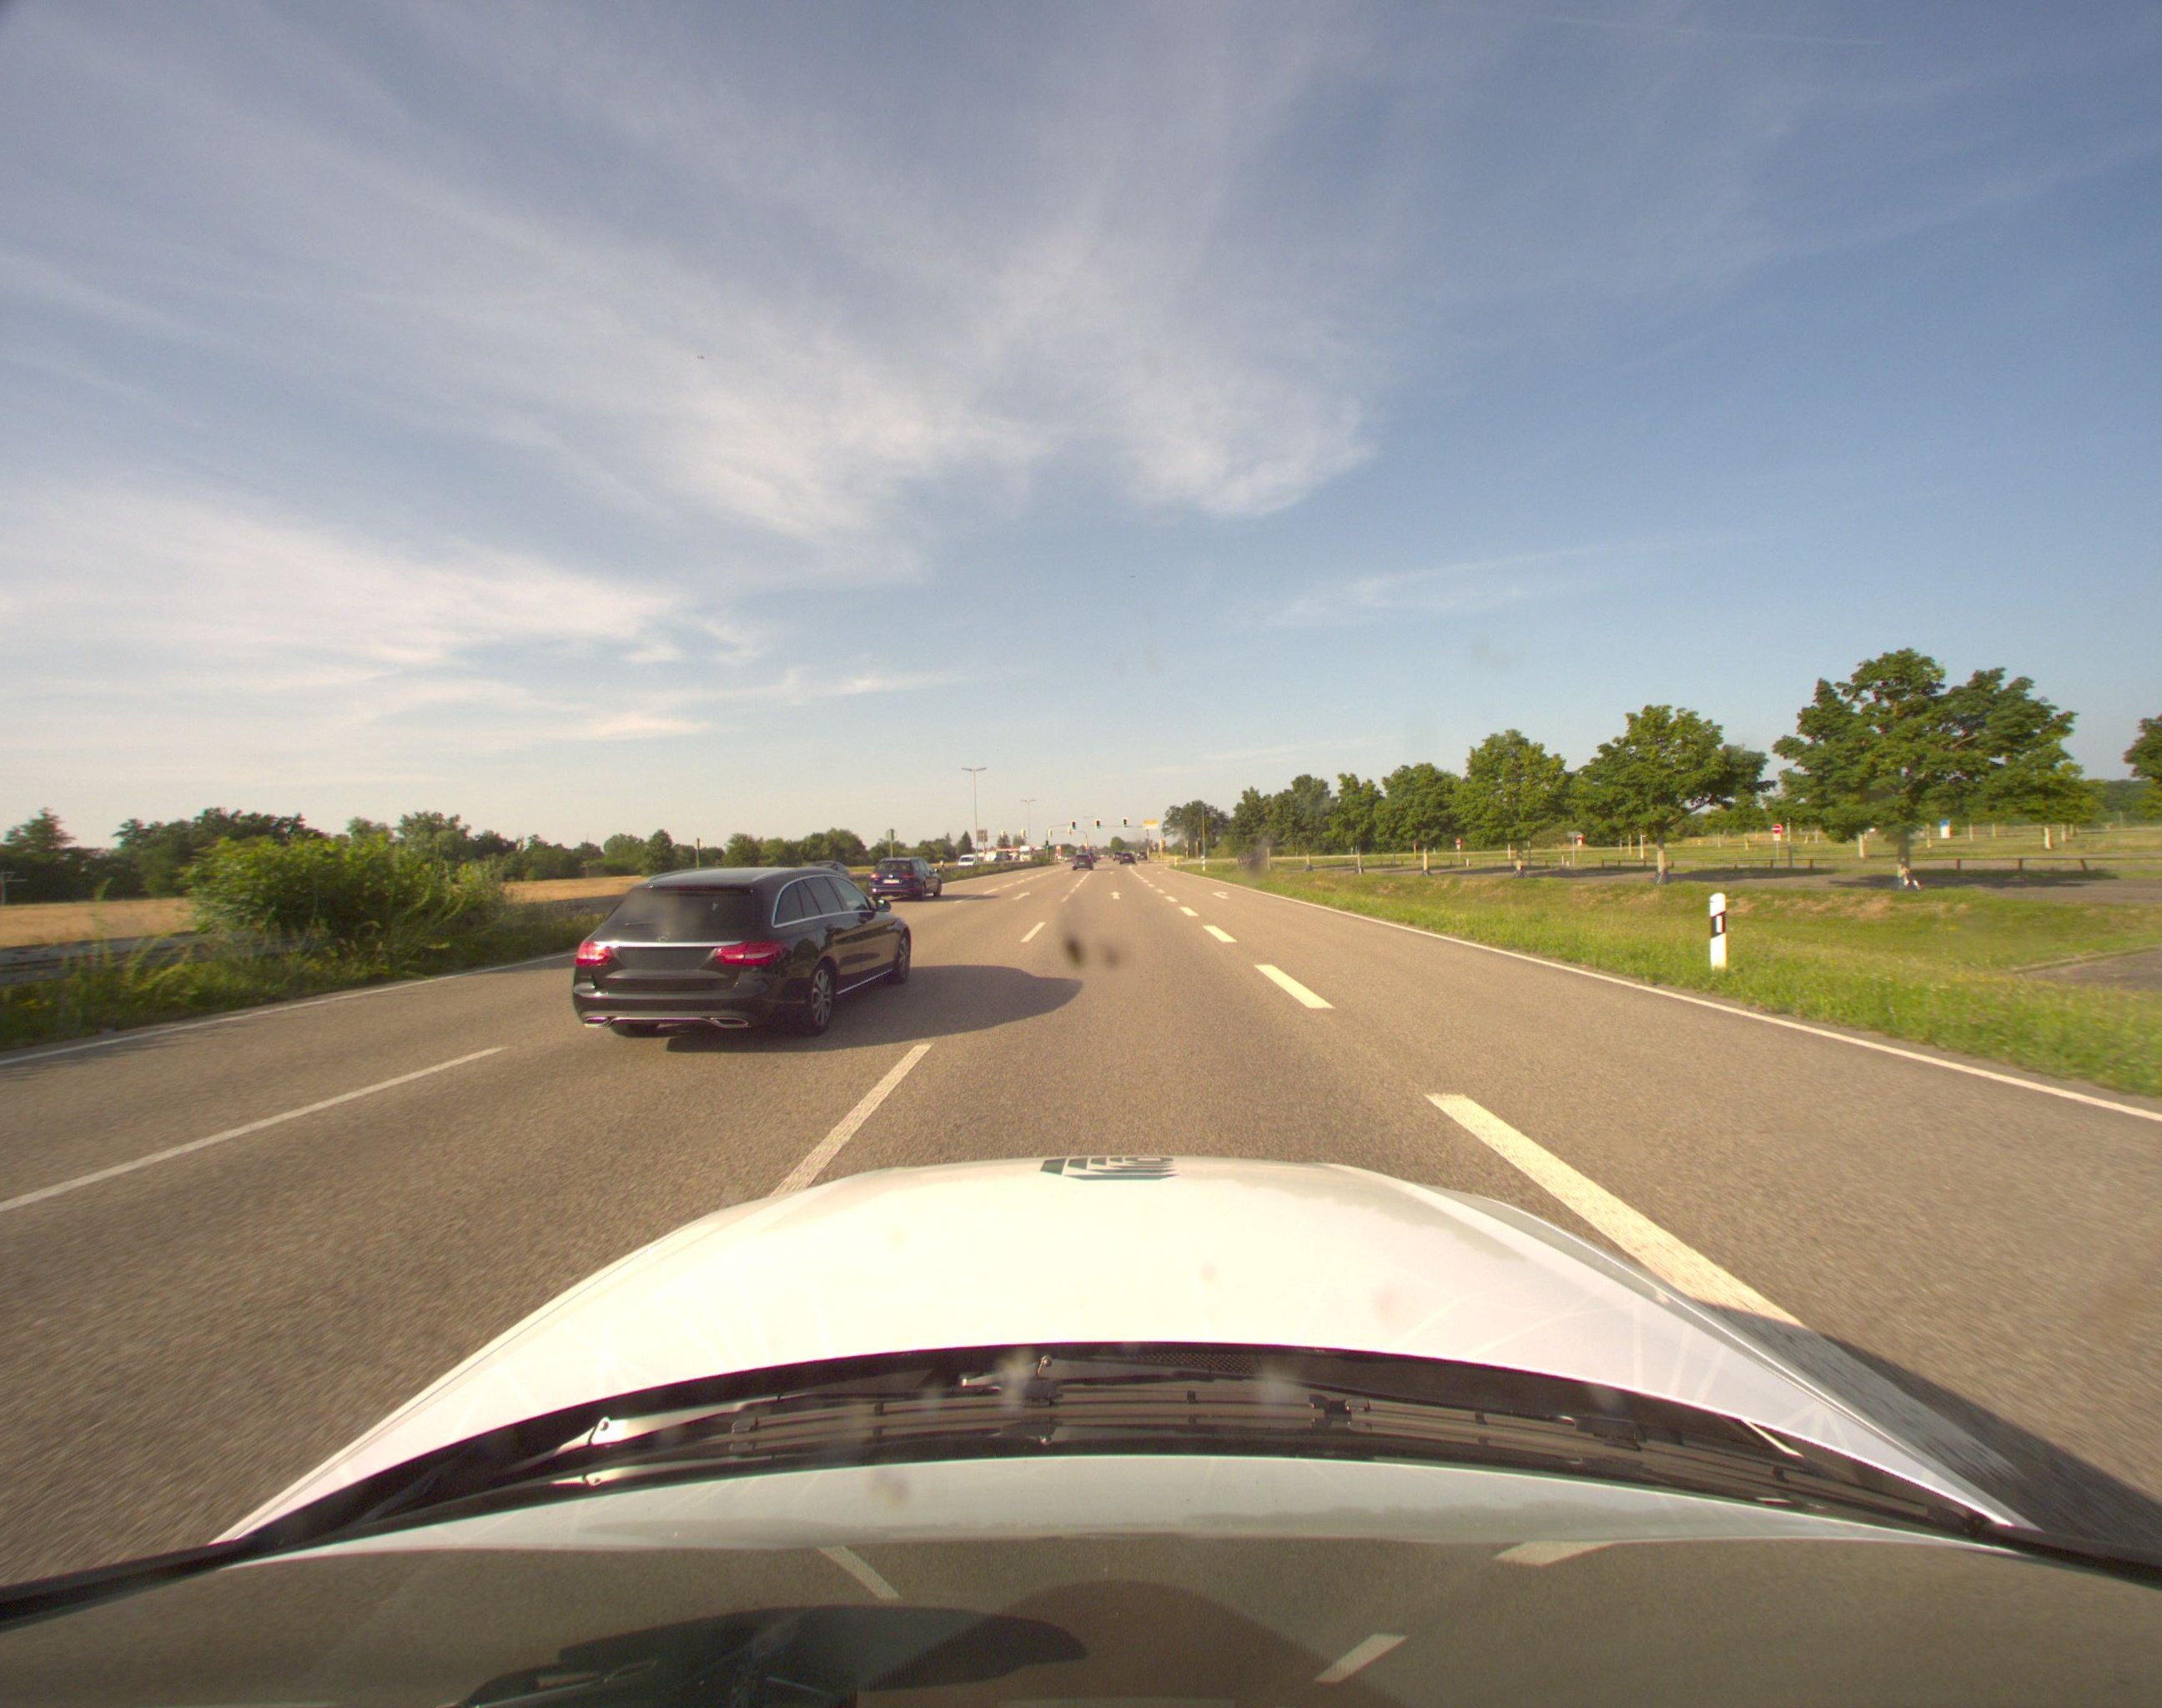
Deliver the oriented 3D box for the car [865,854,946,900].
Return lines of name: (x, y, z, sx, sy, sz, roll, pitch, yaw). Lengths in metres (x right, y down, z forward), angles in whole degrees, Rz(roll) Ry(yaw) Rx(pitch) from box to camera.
car: (-6.053, 0.776, 28.636, 1.640, 1.471, 4.778, 0, -1, 2)

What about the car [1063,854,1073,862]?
car: (-2.372, 0.695, 150.811, 1.594, 1.532, 4.002, 1, 0, 2)

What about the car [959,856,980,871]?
car: (-11.277, 0.943, 82.464, 1.515, 1.363, 3.445, -1, 0, 2)

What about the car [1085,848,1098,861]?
car: (1.678, 0.110, 128.237, 1.986, 1.882, 4.001, 0, -1, 2)

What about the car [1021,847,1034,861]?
car: (-11.460, -0.057, 176.012, 2.263, 2.852, 5.251, -1, 0, 2)

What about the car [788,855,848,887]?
car: (-12.562, 0.786, 39.133, 1.604, 1.441, 3.621, 0, -1, 2)

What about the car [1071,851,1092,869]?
car: (0.098, 0.549, 77.304, 1.839, 1.611, 4.403, 1, 0, 2)

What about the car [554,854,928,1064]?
car: (-2.945, 0.763, 8.425, 1.566, 1.471, 5.025, -1, 0, 2)

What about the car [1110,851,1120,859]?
car: (6.073, 0.190, 146.831, 1.806, 1.463, 4.403, 1, 0, 2)

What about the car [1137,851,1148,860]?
car: (10.832, 0.202, 143.807, 1.742, 1.617, 3.759, 1, 0, 2)

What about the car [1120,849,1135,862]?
car: (6.281, 0.177, 110.543, 1.925, 1.680, 4.403, 1, 0, 2)
